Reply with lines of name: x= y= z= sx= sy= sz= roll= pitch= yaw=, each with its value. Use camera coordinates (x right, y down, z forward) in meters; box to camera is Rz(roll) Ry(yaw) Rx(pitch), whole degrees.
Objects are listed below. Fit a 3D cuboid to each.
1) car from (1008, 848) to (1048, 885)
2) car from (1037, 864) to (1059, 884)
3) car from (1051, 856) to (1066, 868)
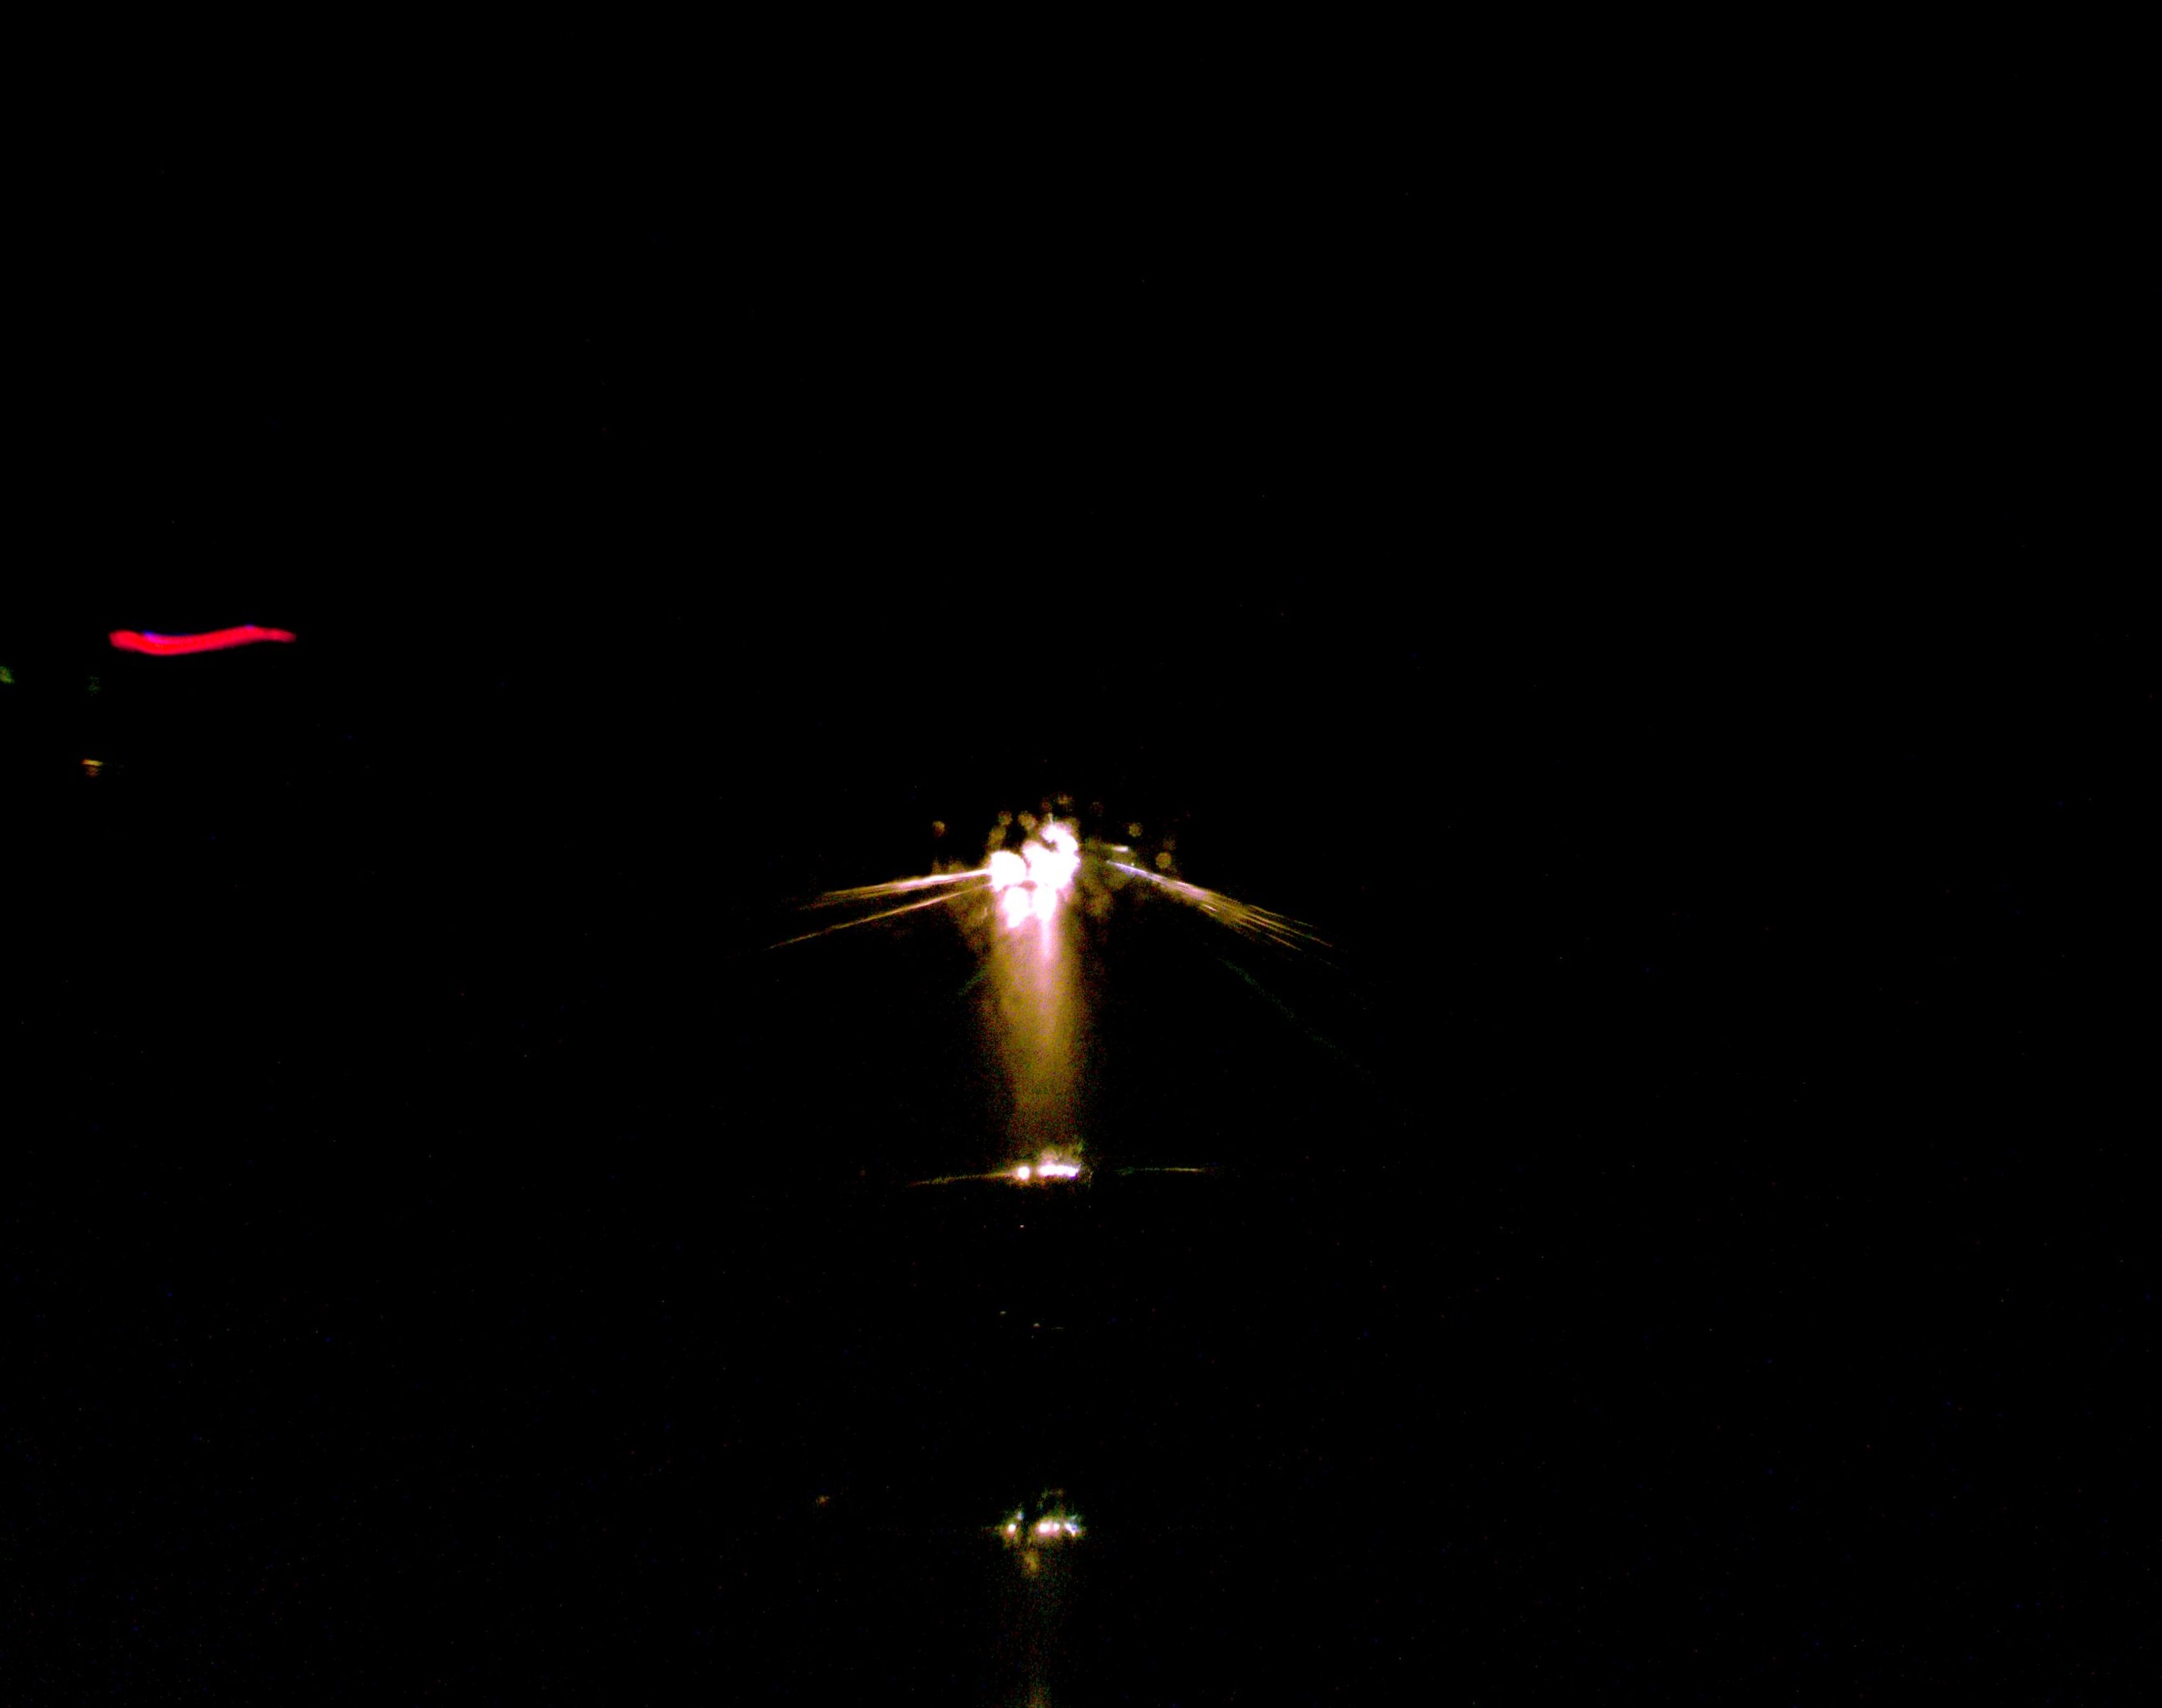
car: x=-2.773 y=0.631 z=43.783 sx=1.826 sy=1.871 sz=4.428 roll=-1 pitch=0 yaw=0
car: x=-2.651 y=1.605 z=65.629 sx=1.660 sy=1.456 sz=3.425 roll=-1 pitch=0 yaw=0
car: x=-2.597 y=0.894 z=94.043 sx=1.636 sy=1.359 sz=3.680 roll=-1 pitch=0 yaw=0
